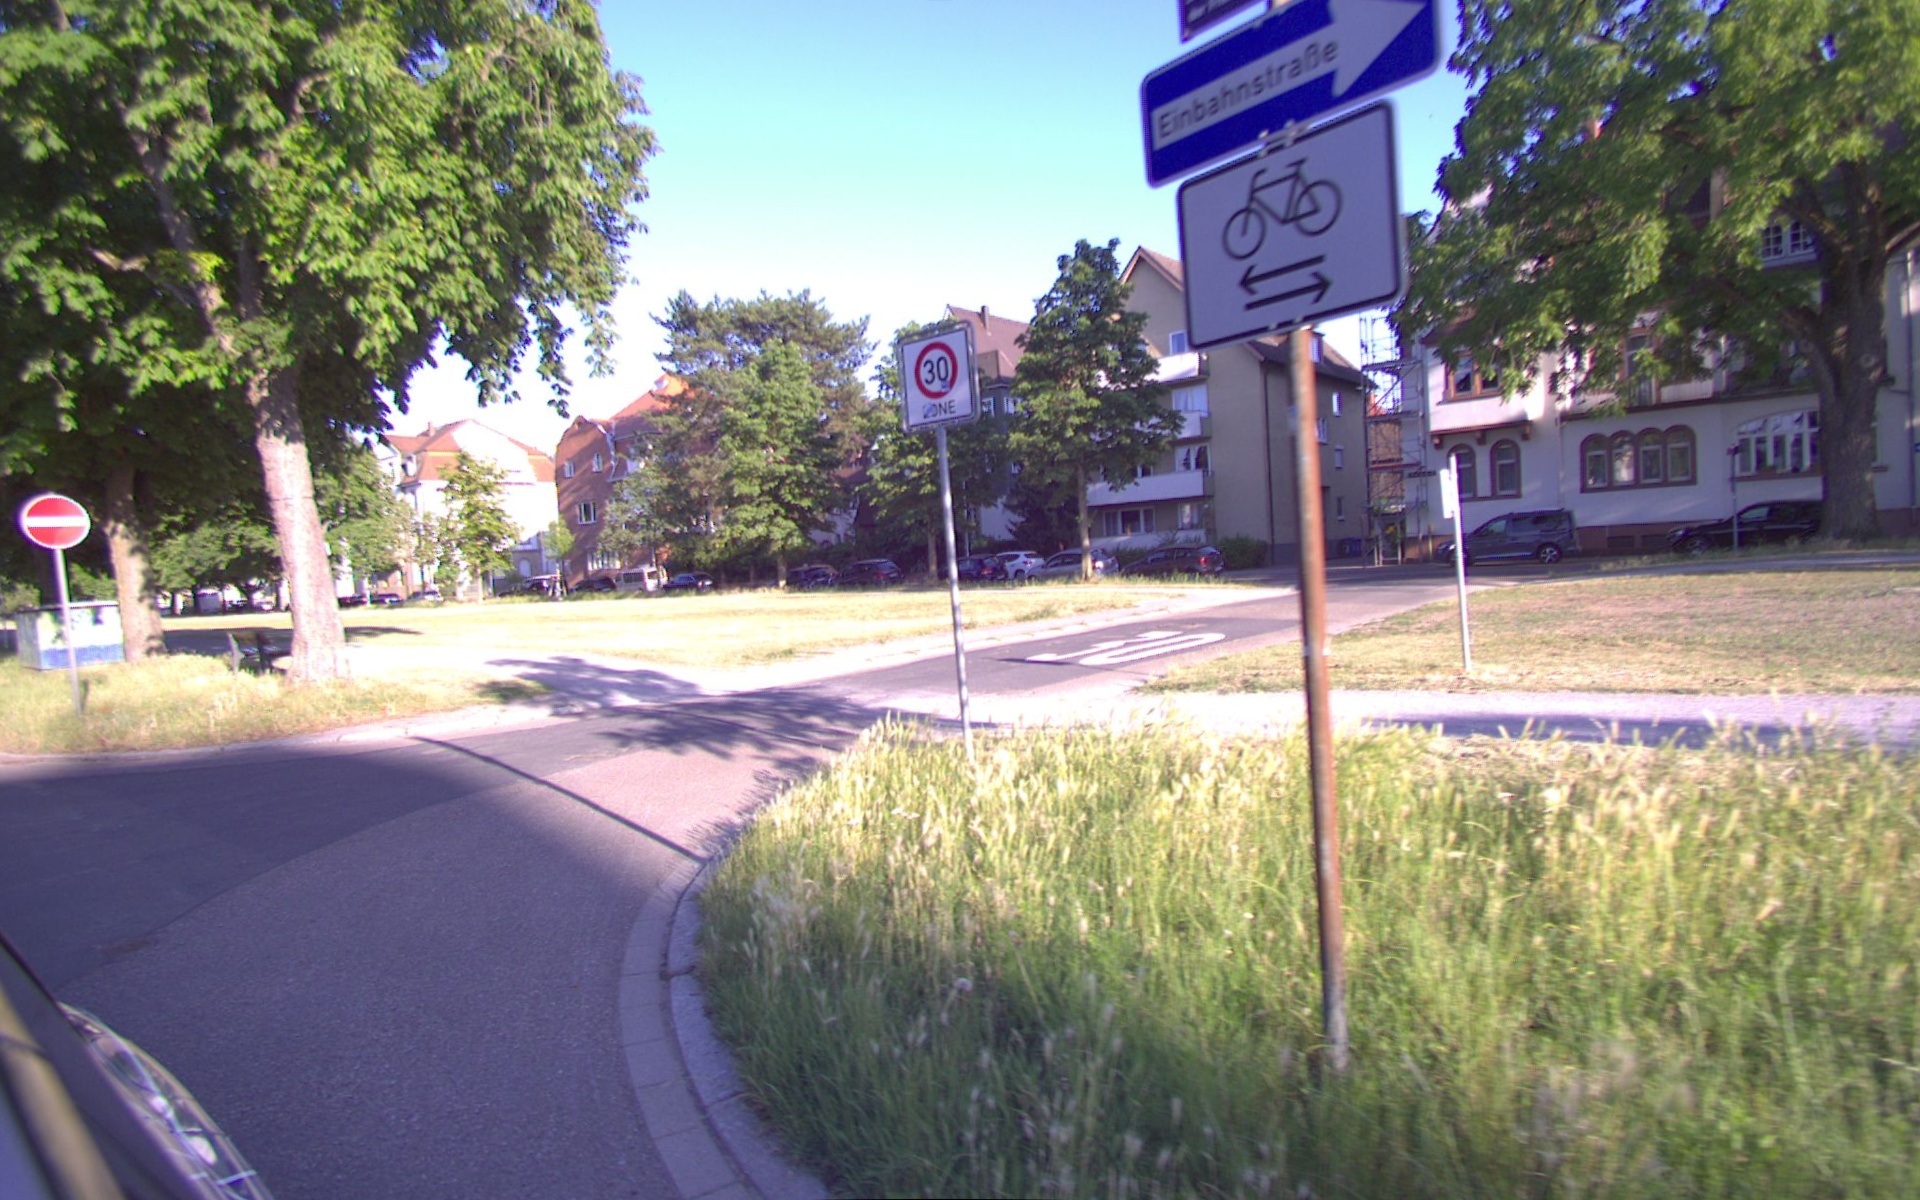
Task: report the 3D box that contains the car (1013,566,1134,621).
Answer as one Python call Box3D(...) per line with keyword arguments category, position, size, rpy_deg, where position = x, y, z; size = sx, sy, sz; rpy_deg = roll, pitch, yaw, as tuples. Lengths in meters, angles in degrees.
Box3D(category="car", position=(4.420, -0.245, 39.766), size=(4.254, 1.873, 1.973), rpy_deg=(-2, 3, 42))

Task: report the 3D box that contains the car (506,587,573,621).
Box3D(category="car", position=(-28.478, 0.311, 68.459), size=(5.244, 1.954, 1.973), rpy_deg=(-3, 2, 42))

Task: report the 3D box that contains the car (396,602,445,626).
Box3D(category="car", position=(-43.477, 1.136, 81.492), size=(4.647, 1.651, 1.801), rpy_deg=(-3, 2, 41))

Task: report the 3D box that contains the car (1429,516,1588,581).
Box3D(category="car", position=(18.880, -1.749, 34.922), size=(4.489, 1.890, 1.975), rpy_deg=(-3, 2, 38))

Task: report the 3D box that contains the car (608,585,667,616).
Box3D(category="car", position=(-22.498, 0.051, 70.613), size=(4.406, 1.851, 1.798), rpy_deg=(-3, 2, 41))

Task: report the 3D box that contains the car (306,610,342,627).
Box3D(category="car", position=(-70.687, 2.062, 112.487), size=(4.425, 1.664, 1.974), rpy_deg=(-3, 2, 40))

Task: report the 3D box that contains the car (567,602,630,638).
Box3D(category="car", position=(-23.022, 1.259, 64.384), size=(3.998, 2.028, 1.974), rpy_deg=(-3, 3, 41))

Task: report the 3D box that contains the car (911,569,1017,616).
Box3D(category="car", position=(0.134, -0.287, 43.310), size=(4.254, 1.733, 1.973), rpy_deg=(-2, 3, 42))

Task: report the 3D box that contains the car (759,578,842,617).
Box3D(category="car", position=(-8.019, -0.135, 50.772), size=(4.000, 1.696, 1.972), rpy_deg=(-2, 3, 43))

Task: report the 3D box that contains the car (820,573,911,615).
Box3D(category="car", position=(-4.441, -0.264, 47.336), size=(4.000, 1.696, 1.972), rpy_deg=(-2, 3, 43))

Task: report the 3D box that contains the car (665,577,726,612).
Box3D(category="car", position=(-17.450, -0.334, 66.723), size=(3.999, 2.028, 1.973), rpy_deg=(-3, 2, 43))

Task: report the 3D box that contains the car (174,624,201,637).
Box3D(category="car", position=(-116.535, 4.645, 152.681), size=(4.870, 1.702, 1.975), rpy_deg=(-3, 2, 39))

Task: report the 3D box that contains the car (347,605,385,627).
Box3D(category="car", position=(-61.983, 1.637, 105.571), size=(4.875, 2.028, 1.973), rpy_deg=(-3, 2, 43))

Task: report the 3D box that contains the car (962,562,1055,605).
Box3D(category="car", position=(2.325, -0.798, 49.098), size=(3.995, 1.795, 1.975), rpy_deg=(-2, 3, 39))

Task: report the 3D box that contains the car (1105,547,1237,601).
Box3D(category="car", position=(7.700, -0.943, 37.068), size=(4.254, 1.661, 1.973), rpy_deg=(-2, 3, 42))

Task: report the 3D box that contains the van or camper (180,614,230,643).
Box3D(category="van or camper", position=(-93.636, 3.563, 125.426), size=(7.893, 3.133, 3.221), rpy_deg=(-3, 2, 41))

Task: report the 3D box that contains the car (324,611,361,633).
Box3D(category="car", position=(-66.310, 2.347, 108.692), size=(4.424, 2.028, 1.974), rpy_deg=(-3, 2, 39))

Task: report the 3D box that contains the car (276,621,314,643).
Box3D(category="car", position=(-66.922, 3.213, 101.864), size=(4.875, 2.028, 1.973), rpy_deg=(-3, 2, 43))

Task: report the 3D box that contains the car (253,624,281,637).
Box3D(category="car", position=(-88.168, 3.881, 128.720), size=(3.997, 1.475, 1.974), rpy_deg=(-3, 2, 41))

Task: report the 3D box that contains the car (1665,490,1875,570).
Box3D(category="car", position=(24.257, -2.063, 30.508), size=(4.746, 1.967, 1.974), rpy_deg=(-3, 2, 40))
